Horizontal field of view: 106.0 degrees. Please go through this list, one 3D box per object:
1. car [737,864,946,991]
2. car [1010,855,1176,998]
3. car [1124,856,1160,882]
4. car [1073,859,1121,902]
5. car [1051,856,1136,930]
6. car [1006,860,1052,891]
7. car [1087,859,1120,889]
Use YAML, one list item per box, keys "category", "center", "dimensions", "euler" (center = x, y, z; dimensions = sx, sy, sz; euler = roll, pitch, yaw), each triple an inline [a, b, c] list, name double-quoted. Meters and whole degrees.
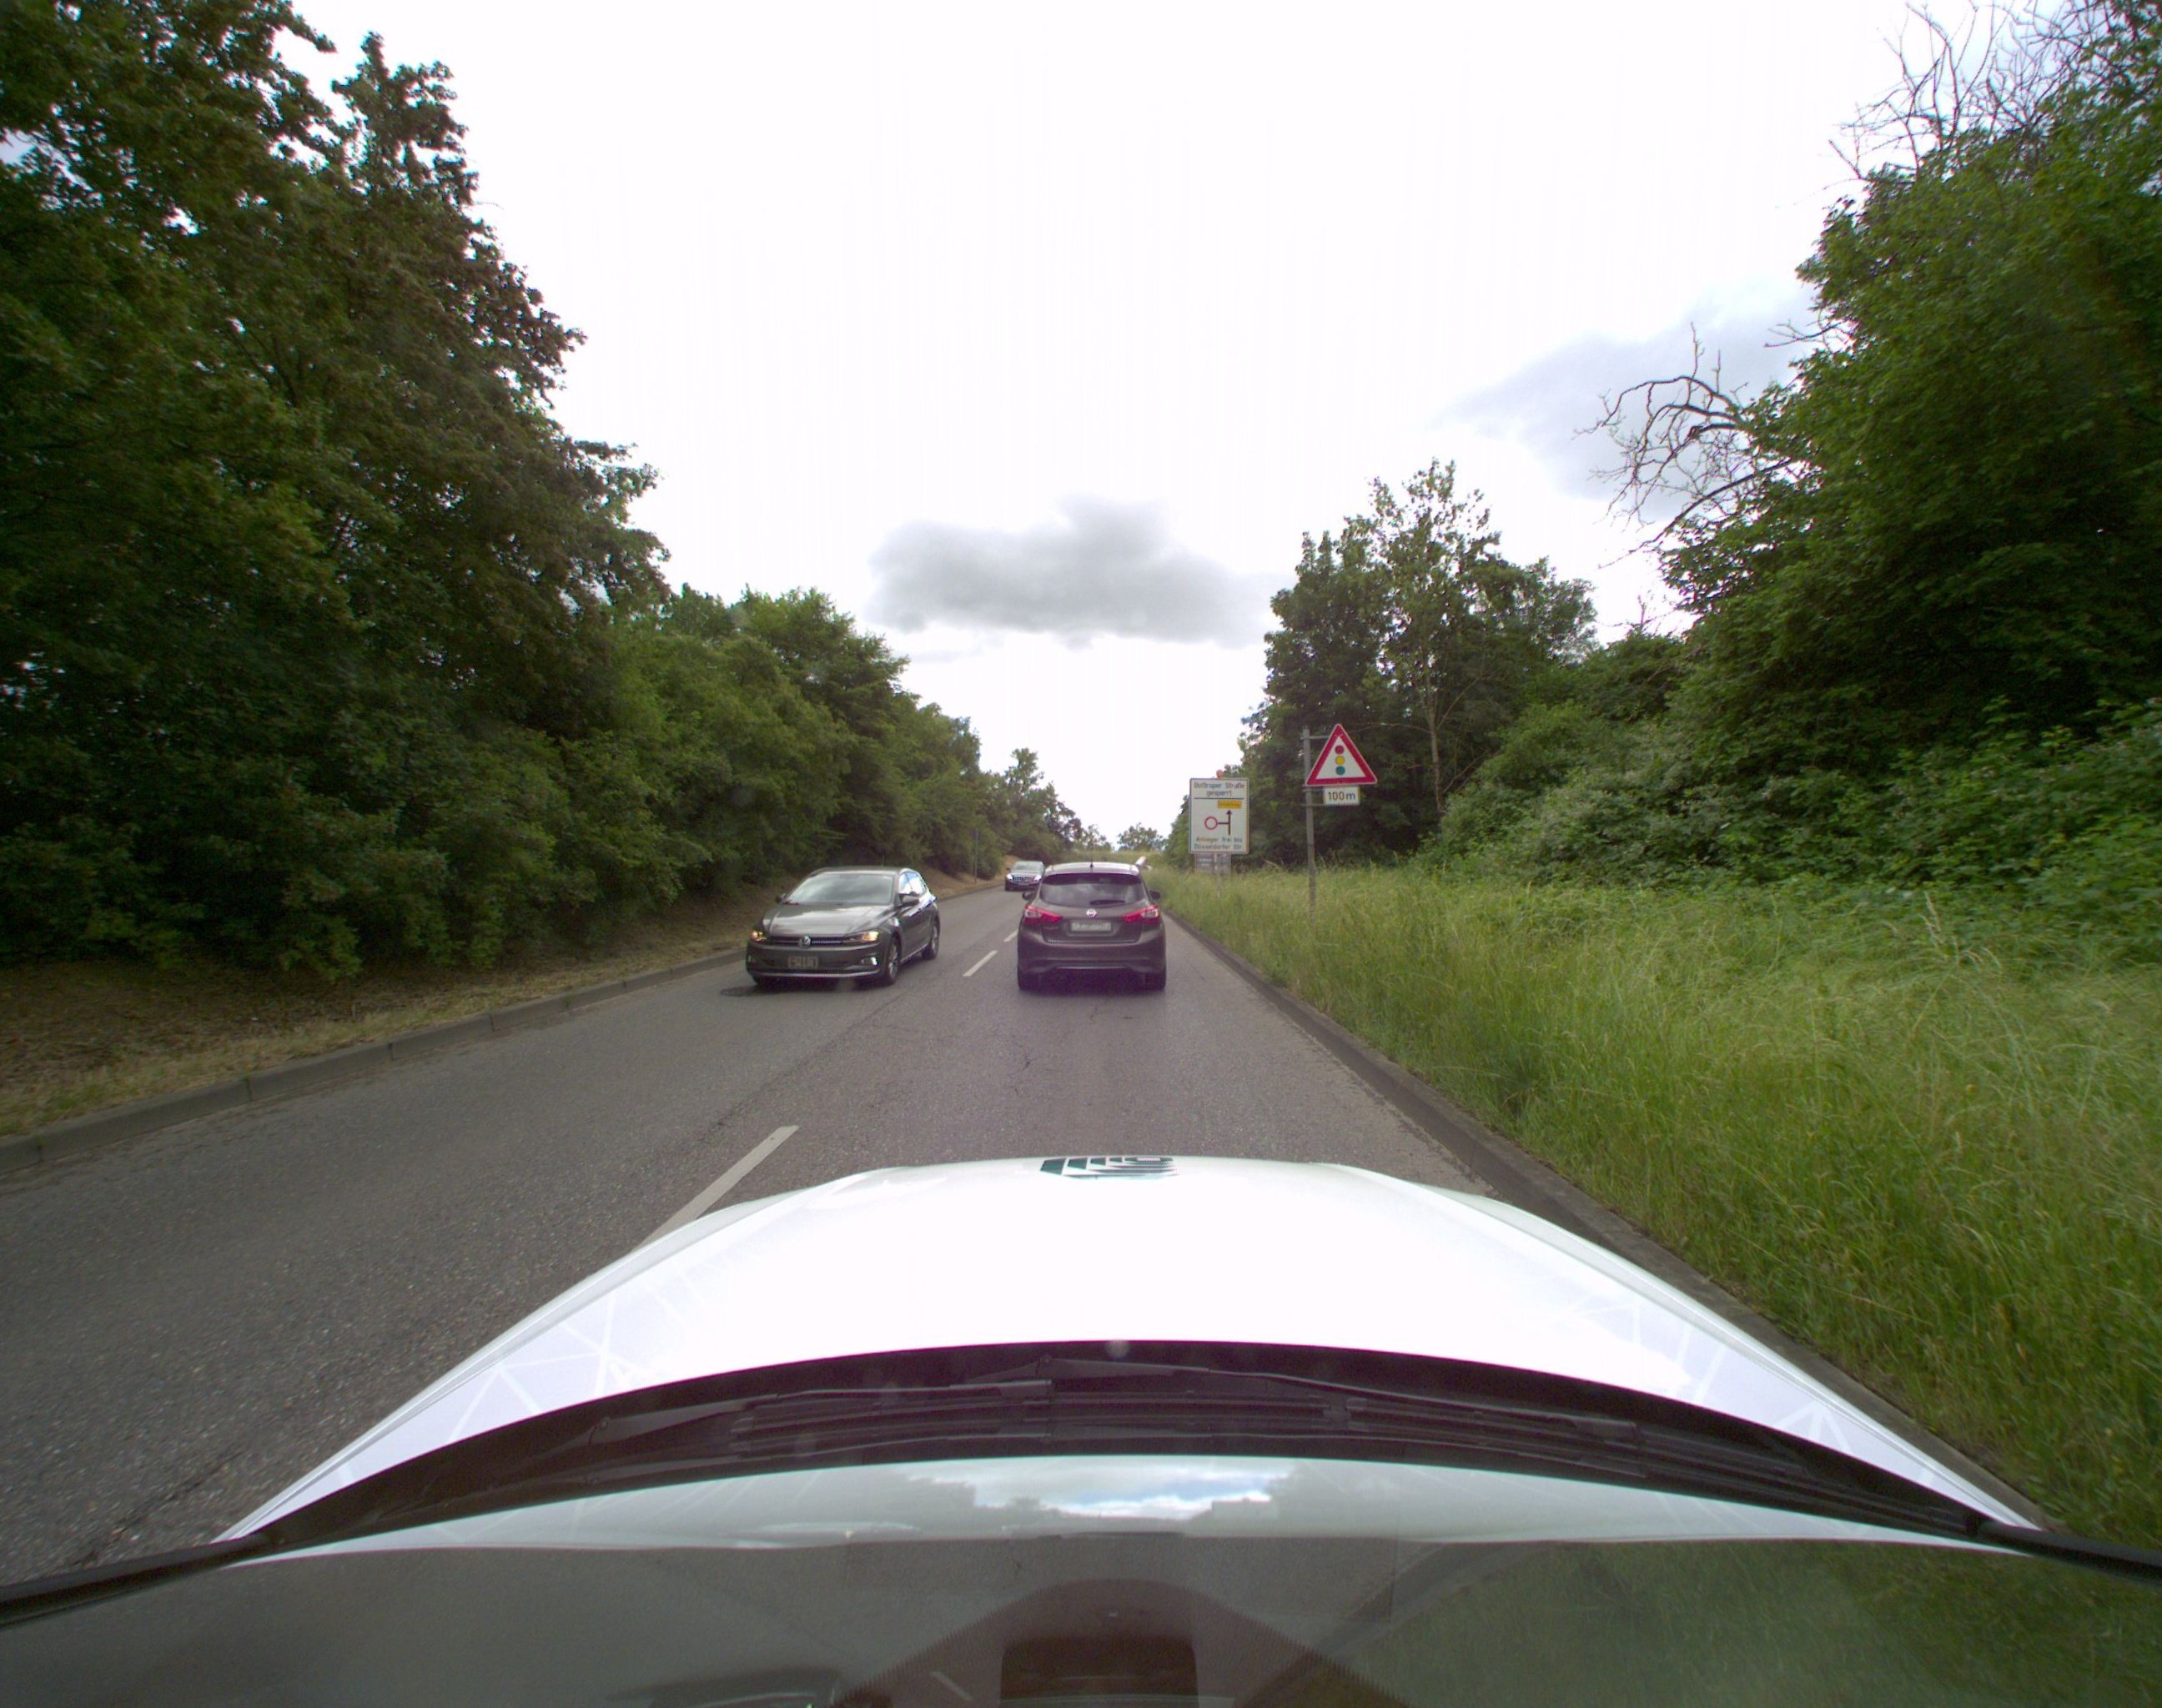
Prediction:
- category: "car"
  center: [-3.058, 0.865, 11.222]
  dimensions: [1.636, 1.400, 3.822]
  euler: [-1, 0, 1]
- category: "car"
  center: [0.135, 0.815, 10.800]
  dimensions: [1.824, 1.556, 3.499]
  euler: [-1, 0, 0]
- category: "car"
  center: [4.744, 1.129, 63.436]
  dimensions: [1.721, 1.935, 3.562]
  euler: [-2, 0, 22]
- category: "car"
  center: [0.664, 0.978, 31.524]
  dimensions: [1.729, 1.556, 3.545]
  euler: [-2, 0, 2]
- category: "car"
  center: [0.347, 0.853, 19.475]
  dimensions: [1.823, 1.556, 3.626]
  euler: [-2, 0, 2]
- category: "car"
  center: [-2.475, 1.011, 39.702]
  dimensions: [1.634, 1.400, 3.826]
  euler: [2, 0, 5]
- category: "car"
  center: [1.256, 1.095, 45.228]
  dimensions: [1.729, 1.556, 3.545]
  euler: [-2, 0, 2]
